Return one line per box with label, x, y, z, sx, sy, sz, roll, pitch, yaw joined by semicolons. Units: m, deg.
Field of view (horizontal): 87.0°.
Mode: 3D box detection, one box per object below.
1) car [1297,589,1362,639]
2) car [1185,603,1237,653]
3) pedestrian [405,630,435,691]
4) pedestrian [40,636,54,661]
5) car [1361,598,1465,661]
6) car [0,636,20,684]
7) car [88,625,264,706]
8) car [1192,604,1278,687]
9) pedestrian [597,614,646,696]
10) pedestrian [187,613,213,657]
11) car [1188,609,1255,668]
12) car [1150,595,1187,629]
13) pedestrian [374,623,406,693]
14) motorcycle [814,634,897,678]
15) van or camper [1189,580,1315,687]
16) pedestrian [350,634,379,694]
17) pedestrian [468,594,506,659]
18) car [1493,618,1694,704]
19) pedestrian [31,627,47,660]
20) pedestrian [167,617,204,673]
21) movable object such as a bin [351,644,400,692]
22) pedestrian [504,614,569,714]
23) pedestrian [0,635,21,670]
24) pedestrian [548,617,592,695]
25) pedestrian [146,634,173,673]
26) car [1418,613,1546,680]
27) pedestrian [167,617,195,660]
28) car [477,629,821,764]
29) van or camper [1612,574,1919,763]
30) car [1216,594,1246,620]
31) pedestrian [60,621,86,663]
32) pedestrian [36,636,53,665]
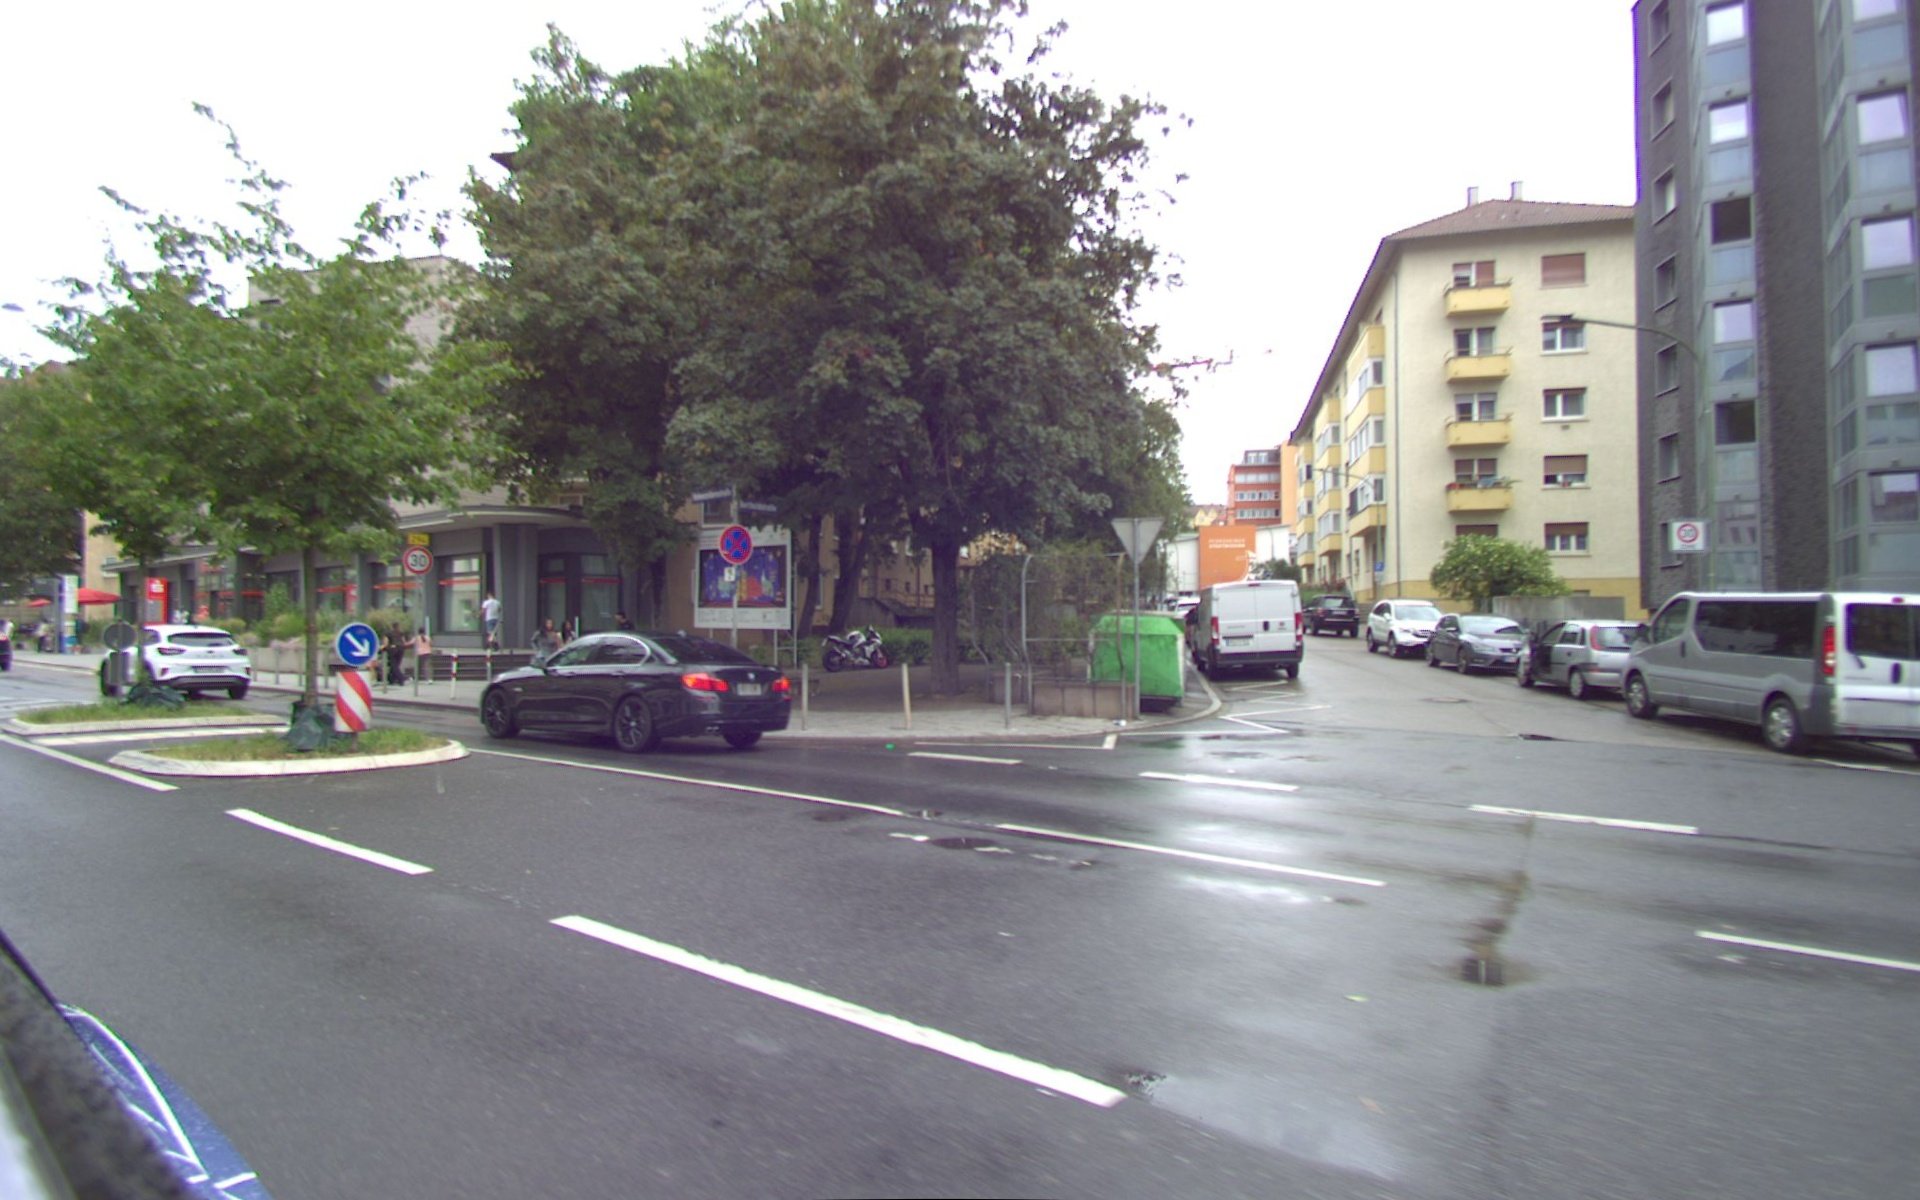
car;15.762;0.619;43.357;1.979;2.029;3.986;-1;-1;11
car;10.698;1.199;42.917;1.982;2.029;3.979;-1;-2;16
pedestrian;-13.490;1.505;25.275;0.529;1.484;0.456;-1;-1;34
pedestrian;-41.329;2.186;45.810;0.385;1.125;0.388;-1;-1;37
car;13.539;0.880;30.515;1.979;1.741;3.986;-1;-1;11
car;-33.692;2.006;34.207;4.234;1.569;1.938;-1;-3;35
car;-16.833;1.392;21.682;4.081;1.581;1.803;-2;-6;36
car;8.023;1.323;29.912;1.977;2.273;3.989;-1;-2;9
pedestrian;-7.795;1.251;23.341;0.690;1.859;0.856;-1;-2;22
pedestrian;-30.234;1.387;40.269;0.701;1.691;0.803;0;-1;-25
car;9.624;1.371;37.472;1.977;2.029;3.989;-1;0;9
car;13.208;0.792;64.089;1.982;2.029;3.979;-1;-2;16
pedestrian;-13.945;1.399;24.752;0.551;1.686;0.493;-1;-1;34
motorcycle;-2.723;1.439;26.512;2.026;0.995;0.798;-3;0;-38
van or camper;6.897;0.712;24.424;2.186;2.283;4.607;-2;0;8
pedestrian;-14.406;1.545;24.478;0.480;1.421;0.429;-1;-1;34
pedestrian;-13.730;0.767;29.403;0.714;1.840;0.721;-2;-1;9
car;11.774;1.089;19.143;1.979;1.454;3.715;-1;-1;11
pedestrian;-42.968;2.022;47.223;0.532;1.561;0.433;-1;-1;36
pedestrian;-26.206;1.513;34.247;0.716;1.840;0.719;-2;-1;18
movable object such as a bin;-14.567;1.675;25.220;0.963;1.143;0.698;-1;0;34
pedestrian;-7.989;1.197;19.111;0.846;1.840;0.720;-2;-1;14
pedestrian;-48.257;2.650;51.190;0.754;1.721;0.790;-2;0;12
pedestrian;-9.060;1.285;23.510;0.714;1.772;0.654;-1;-2;14
pedestrian;-30.139;2.012;38.091;0.582;1.431;0.727;0;-1;-18
car;12.553;1.081;24.593;1.676;1.475;3.986;-1;-1;11
pedestrian;-31.308;1.545;40.663;0.712;1.691;0.707;-1;-1;36
car;-4.091;1.102;13.010;4.492;1.436;1.995;-1;-2;37
van or camper;10.976;0.787;13.455;1.977;2.029;4.953;2;0;9
car;21.749;0.580;81.342;1.979;2.029;3.986;-1;-1;11
pedestrian;-39.090;1.834;44.588;0.866;1.833;0.585;-1;-1;29
pedestrian;-41.690;2.306;46.091;0.548;1.287;0.463;-1;-1;37
